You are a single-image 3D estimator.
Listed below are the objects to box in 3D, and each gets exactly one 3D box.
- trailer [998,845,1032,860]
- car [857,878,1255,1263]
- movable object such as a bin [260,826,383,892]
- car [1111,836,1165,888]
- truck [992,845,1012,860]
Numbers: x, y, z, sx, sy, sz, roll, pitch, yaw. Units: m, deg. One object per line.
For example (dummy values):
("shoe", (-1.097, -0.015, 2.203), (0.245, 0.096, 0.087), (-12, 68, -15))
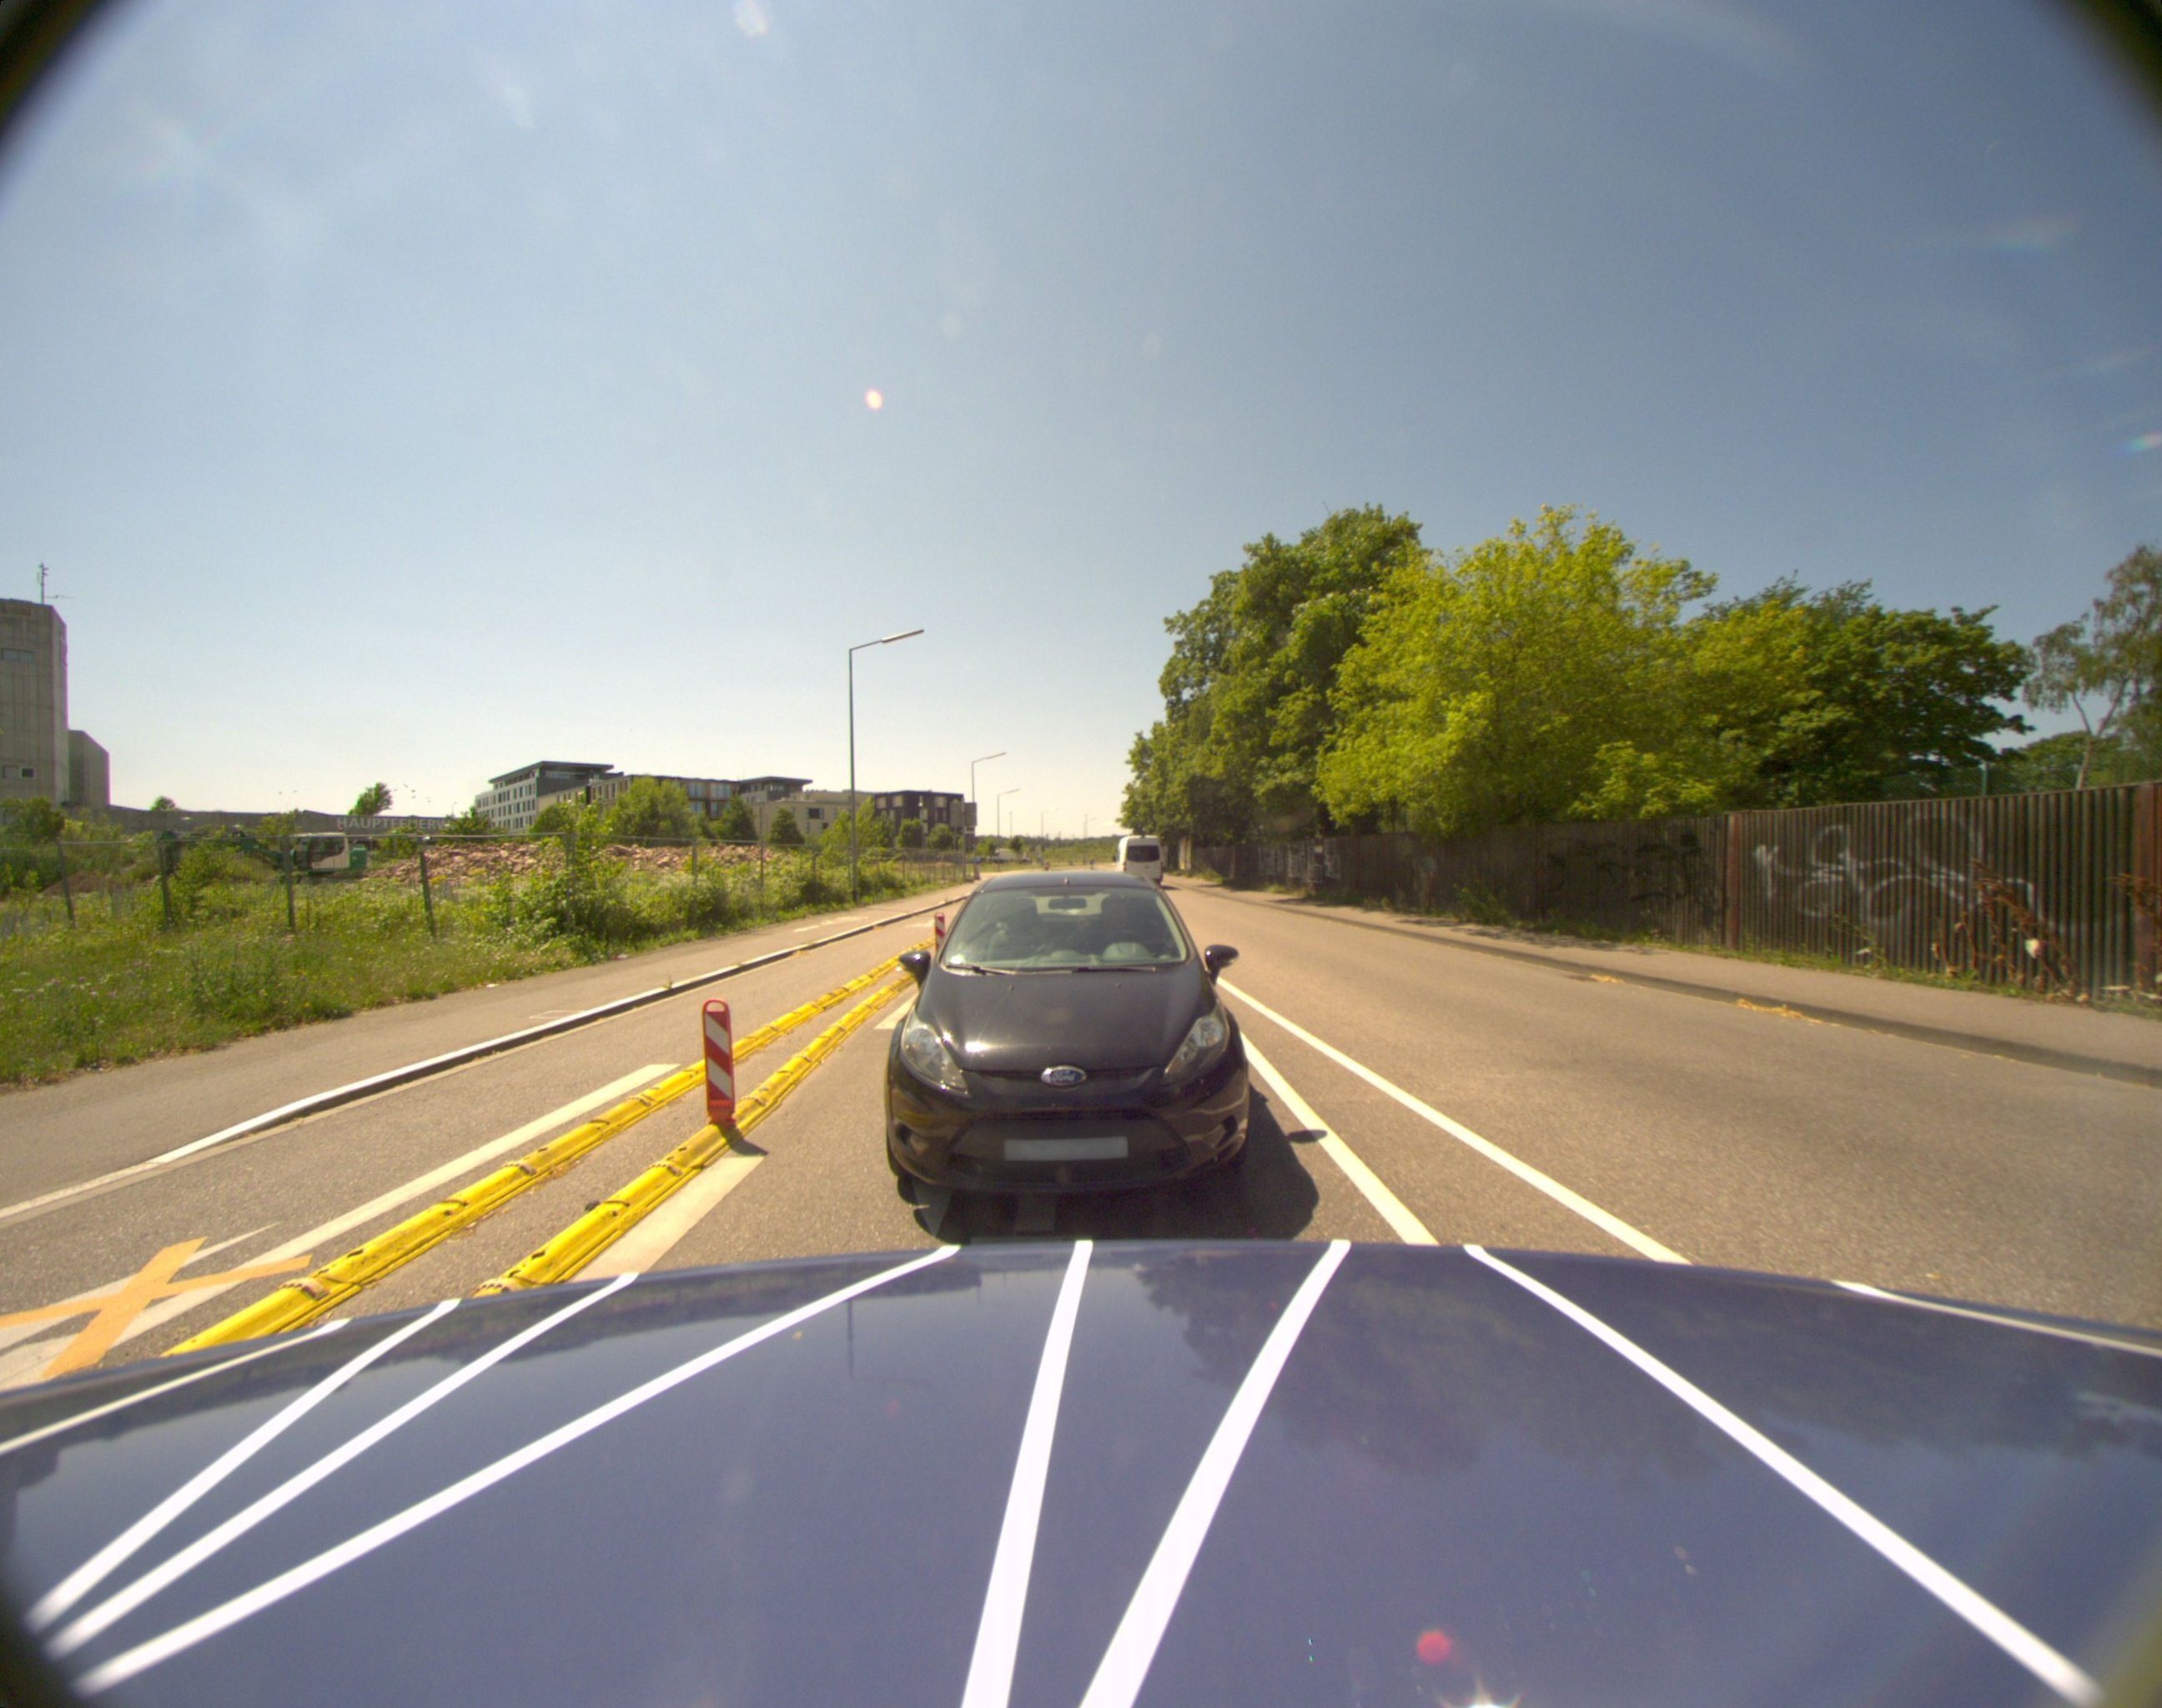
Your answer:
("trailer", (-15.123, -0.334, 174.456), (8.194, 3.329, 1.994), (0, 0, -45))
("car", (-0.080, 0.957, 5.129), (1.602, 1.422, 4.000), (-2, 0, 1))
("movable object such as a bin", (-37.633, 0.239, 37.791), (2.204, 3.045, 3.690), (-1, 1, 6))
("car", (2.883, 0.378, 39.787), (2.025, 2.524, 6.826), (0, 0, -2))
("truck", (-17.880, -0.341, 171.716), (4.008, 3.316, 1.994), (-1, 0, -45))
